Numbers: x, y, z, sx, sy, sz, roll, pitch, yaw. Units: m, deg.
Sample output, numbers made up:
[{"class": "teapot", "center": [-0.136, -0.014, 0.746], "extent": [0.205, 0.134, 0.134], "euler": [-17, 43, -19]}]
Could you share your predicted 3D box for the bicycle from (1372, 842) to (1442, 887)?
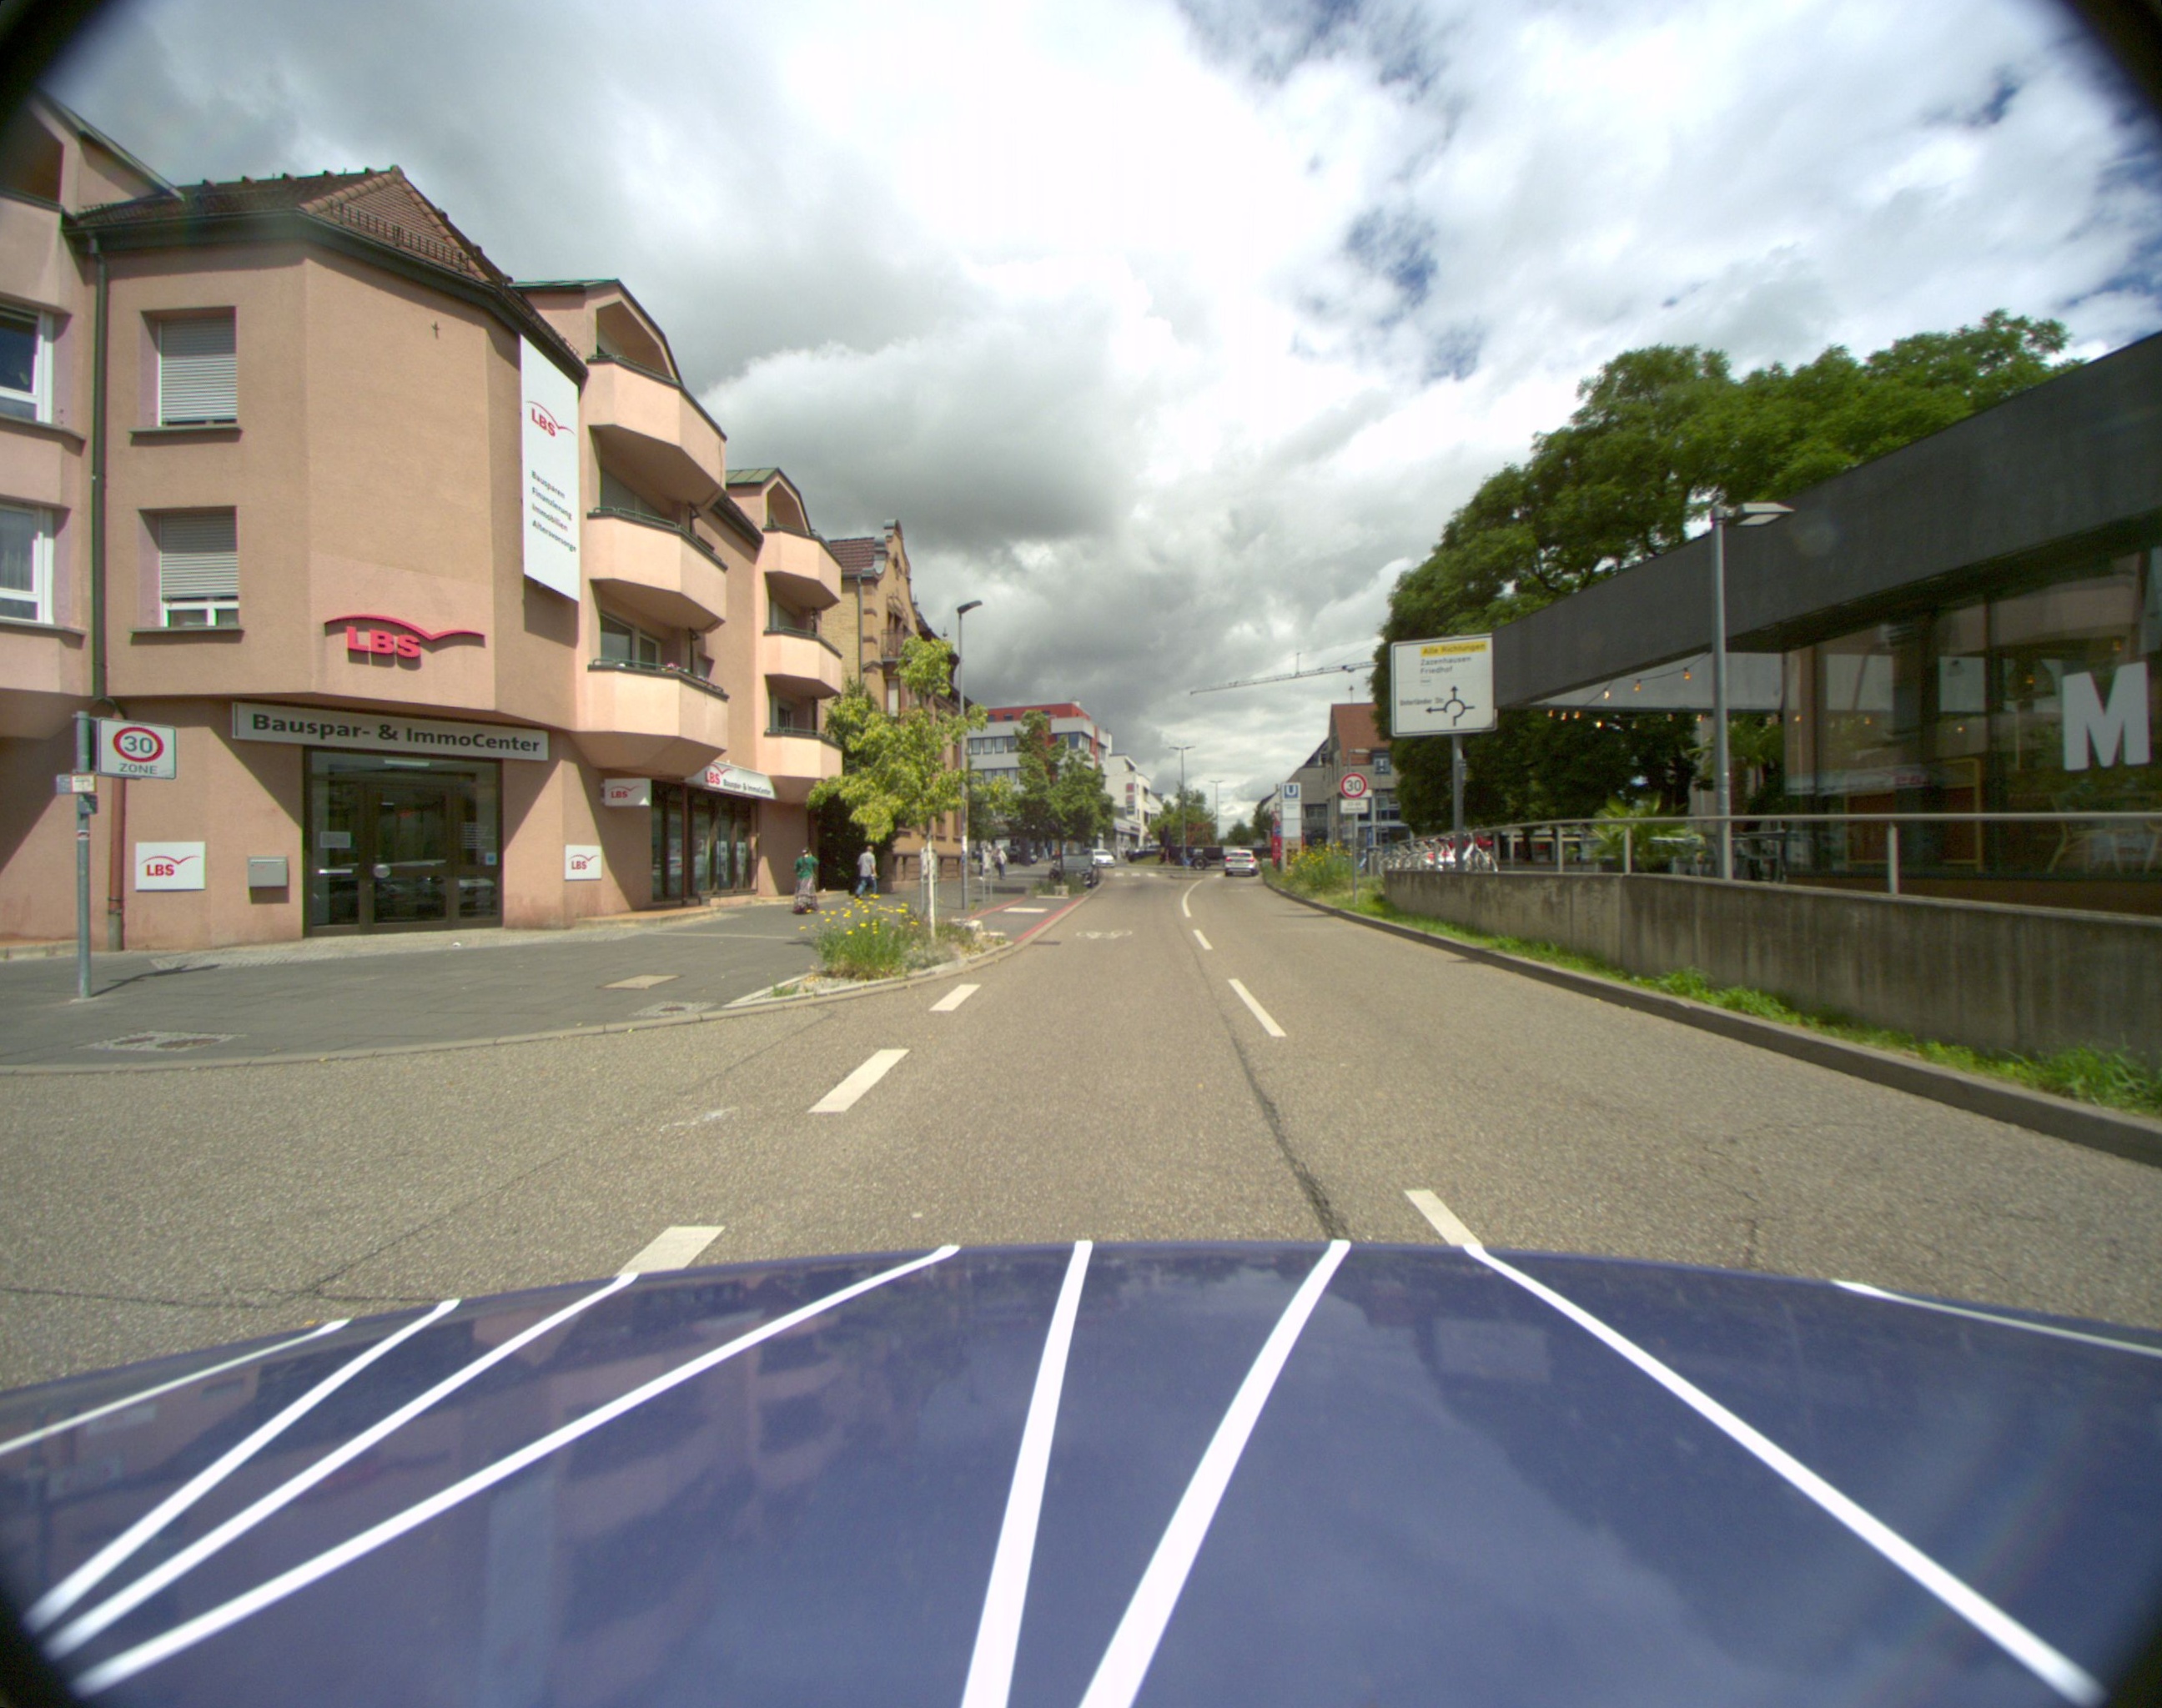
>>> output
[{"class": "bicycle", "center": [8.295, 0.262, 19.376], "extent": [1.549, 1.121, 0.534], "euler": [0, 1, 6]}]

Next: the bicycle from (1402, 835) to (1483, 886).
[{"class": "bicycle", "center": [8.097, 0.154, 17.041], "extent": [1.549, 1.121, 0.534], "euler": [0, 1, 6]}]

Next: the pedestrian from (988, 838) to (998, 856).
[{"class": "pedestrian", "center": [-9.475, -0.745, 81.730], "extent": [0.684, 1.902, 0.767], "euler": [-1, 2, 15]}]

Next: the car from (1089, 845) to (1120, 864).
[{"class": "car", "center": [1.886, 0.024, 61.518], "extent": [1.816, 1.391, 4.050], "euler": [-2, 1, -7]}]

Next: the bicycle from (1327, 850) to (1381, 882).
[{"class": "bicycle", "center": [9.434, 0.424, 26.273], "extent": [1.690, 1.075, 0.515], "euler": [-1, -1, 2]}]

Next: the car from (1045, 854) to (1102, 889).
[{"class": "car", "center": [-0.253, 0.719, 33.969], "extent": [1.997, 1.406, 4.738], "euler": [0, 1, 6]}]

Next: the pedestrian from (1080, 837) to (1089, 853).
[{"class": "pedestrian", "center": [0.379, -0.955, 80.433], "extent": [0.684, 1.585, 0.767], "euler": [-1, 2, 15]}]

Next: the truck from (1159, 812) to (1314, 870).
[{"class": "truck", "center": [11.345, -0.896, 55.751], "extent": [10.828, 3.821, 2.685], "euler": [-2, 2, 14]}]

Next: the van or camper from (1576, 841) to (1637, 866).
[{"class": "van or camper", "center": [52.033, -0.005, 75.326], "extent": [2.002, 2.368, 4.668], "euler": [-1, 0, -18]}]

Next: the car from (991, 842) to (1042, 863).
[{"class": "car", "center": [-5.712, -0.148, 67.604], "extent": [3.993, 1.641, 2.002], "euler": [-2, 0, 11]}]

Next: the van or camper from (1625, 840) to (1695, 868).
[{"class": "van or camper", "center": [51.655, 0.007, 67.933], "extent": [2.002, 2.368, 4.668], "euler": [-1, 0, -18]}]

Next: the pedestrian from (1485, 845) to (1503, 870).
[{"class": "pedestrian", "center": [27.703, 0.257, 50.960], "extent": [0.690, 1.665, 0.817], "euler": [-1, -1, 3]}]

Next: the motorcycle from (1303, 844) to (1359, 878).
[{"class": "motorcycle", "center": [10.605, 0.300, 32.290], "extent": [2.193, 1.441, 0.648], "euler": [0, 2, 5]}]

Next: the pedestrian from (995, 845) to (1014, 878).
[{"class": "pedestrian", "center": [-3.899, 0.364, 38.897], "extent": [0.696, 1.649, 0.741], "euler": [-1, 2, 17]}]

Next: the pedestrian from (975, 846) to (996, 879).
[{"class": "pedestrian", "center": [-4.872, 0.418, 38.576], "extent": [0.738, 1.630, 0.677], "euler": [-1, 2, 31]}]

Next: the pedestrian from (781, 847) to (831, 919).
[{"class": "pedestrian", "center": [-6.432, 0.659, 17.788], "extent": [0.745, 1.629, 0.928], "euler": [1, 0, 5]}]

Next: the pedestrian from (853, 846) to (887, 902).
[{"class": "pedestrian", "center": [-6.409, 0.595, 23.096], "extent": [0.718, 1.676, 0.944], "euler": [0, 2, 2]}]

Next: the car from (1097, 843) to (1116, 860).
[{"class": "car", "center": [2.536, -0.248, 75.509], "extent": [1.803, 1.571, 3.999], "euler": [-2, 1, 2]}]

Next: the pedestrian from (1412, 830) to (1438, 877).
[{"class": "pedestrian", "center": [12.134, -0.026, 26.842], "extent": [0.661, 1.619, 0.800], "euler": [-1, -1, 13]}]

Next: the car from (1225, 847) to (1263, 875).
[{"class": "car", "center": [9.970, 0.385, 46.263], "extent": [1.824, 1.575, 4.170], "euler": [1, 1, 18]}]

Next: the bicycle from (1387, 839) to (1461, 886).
[{"class": "bicycle", "center": [8.400, 0.209, 18.642], "extent": [1.549, 1.121, 0.534], "euler": [0, 1, 6]}]

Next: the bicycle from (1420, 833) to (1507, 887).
[{"class": "bicycle", "center": [8.052, 0.125, 16.029], "extent": [1.549, 1.121, 0.534], "euler": [0, 1, 6]}]

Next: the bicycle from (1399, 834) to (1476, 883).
[{"class": "bicycle", "center": [8.309, 0.099, 17.749], "extent": [1.549, 1.121, 0.534], "euler": [0, 1, 6]}]

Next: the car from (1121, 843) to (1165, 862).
[{"class": "car", "center": [5.922, -0.183, 72.826], "extent": [3.998, 1.653, 1.843], "euler": [-2, 2, -2]}]
